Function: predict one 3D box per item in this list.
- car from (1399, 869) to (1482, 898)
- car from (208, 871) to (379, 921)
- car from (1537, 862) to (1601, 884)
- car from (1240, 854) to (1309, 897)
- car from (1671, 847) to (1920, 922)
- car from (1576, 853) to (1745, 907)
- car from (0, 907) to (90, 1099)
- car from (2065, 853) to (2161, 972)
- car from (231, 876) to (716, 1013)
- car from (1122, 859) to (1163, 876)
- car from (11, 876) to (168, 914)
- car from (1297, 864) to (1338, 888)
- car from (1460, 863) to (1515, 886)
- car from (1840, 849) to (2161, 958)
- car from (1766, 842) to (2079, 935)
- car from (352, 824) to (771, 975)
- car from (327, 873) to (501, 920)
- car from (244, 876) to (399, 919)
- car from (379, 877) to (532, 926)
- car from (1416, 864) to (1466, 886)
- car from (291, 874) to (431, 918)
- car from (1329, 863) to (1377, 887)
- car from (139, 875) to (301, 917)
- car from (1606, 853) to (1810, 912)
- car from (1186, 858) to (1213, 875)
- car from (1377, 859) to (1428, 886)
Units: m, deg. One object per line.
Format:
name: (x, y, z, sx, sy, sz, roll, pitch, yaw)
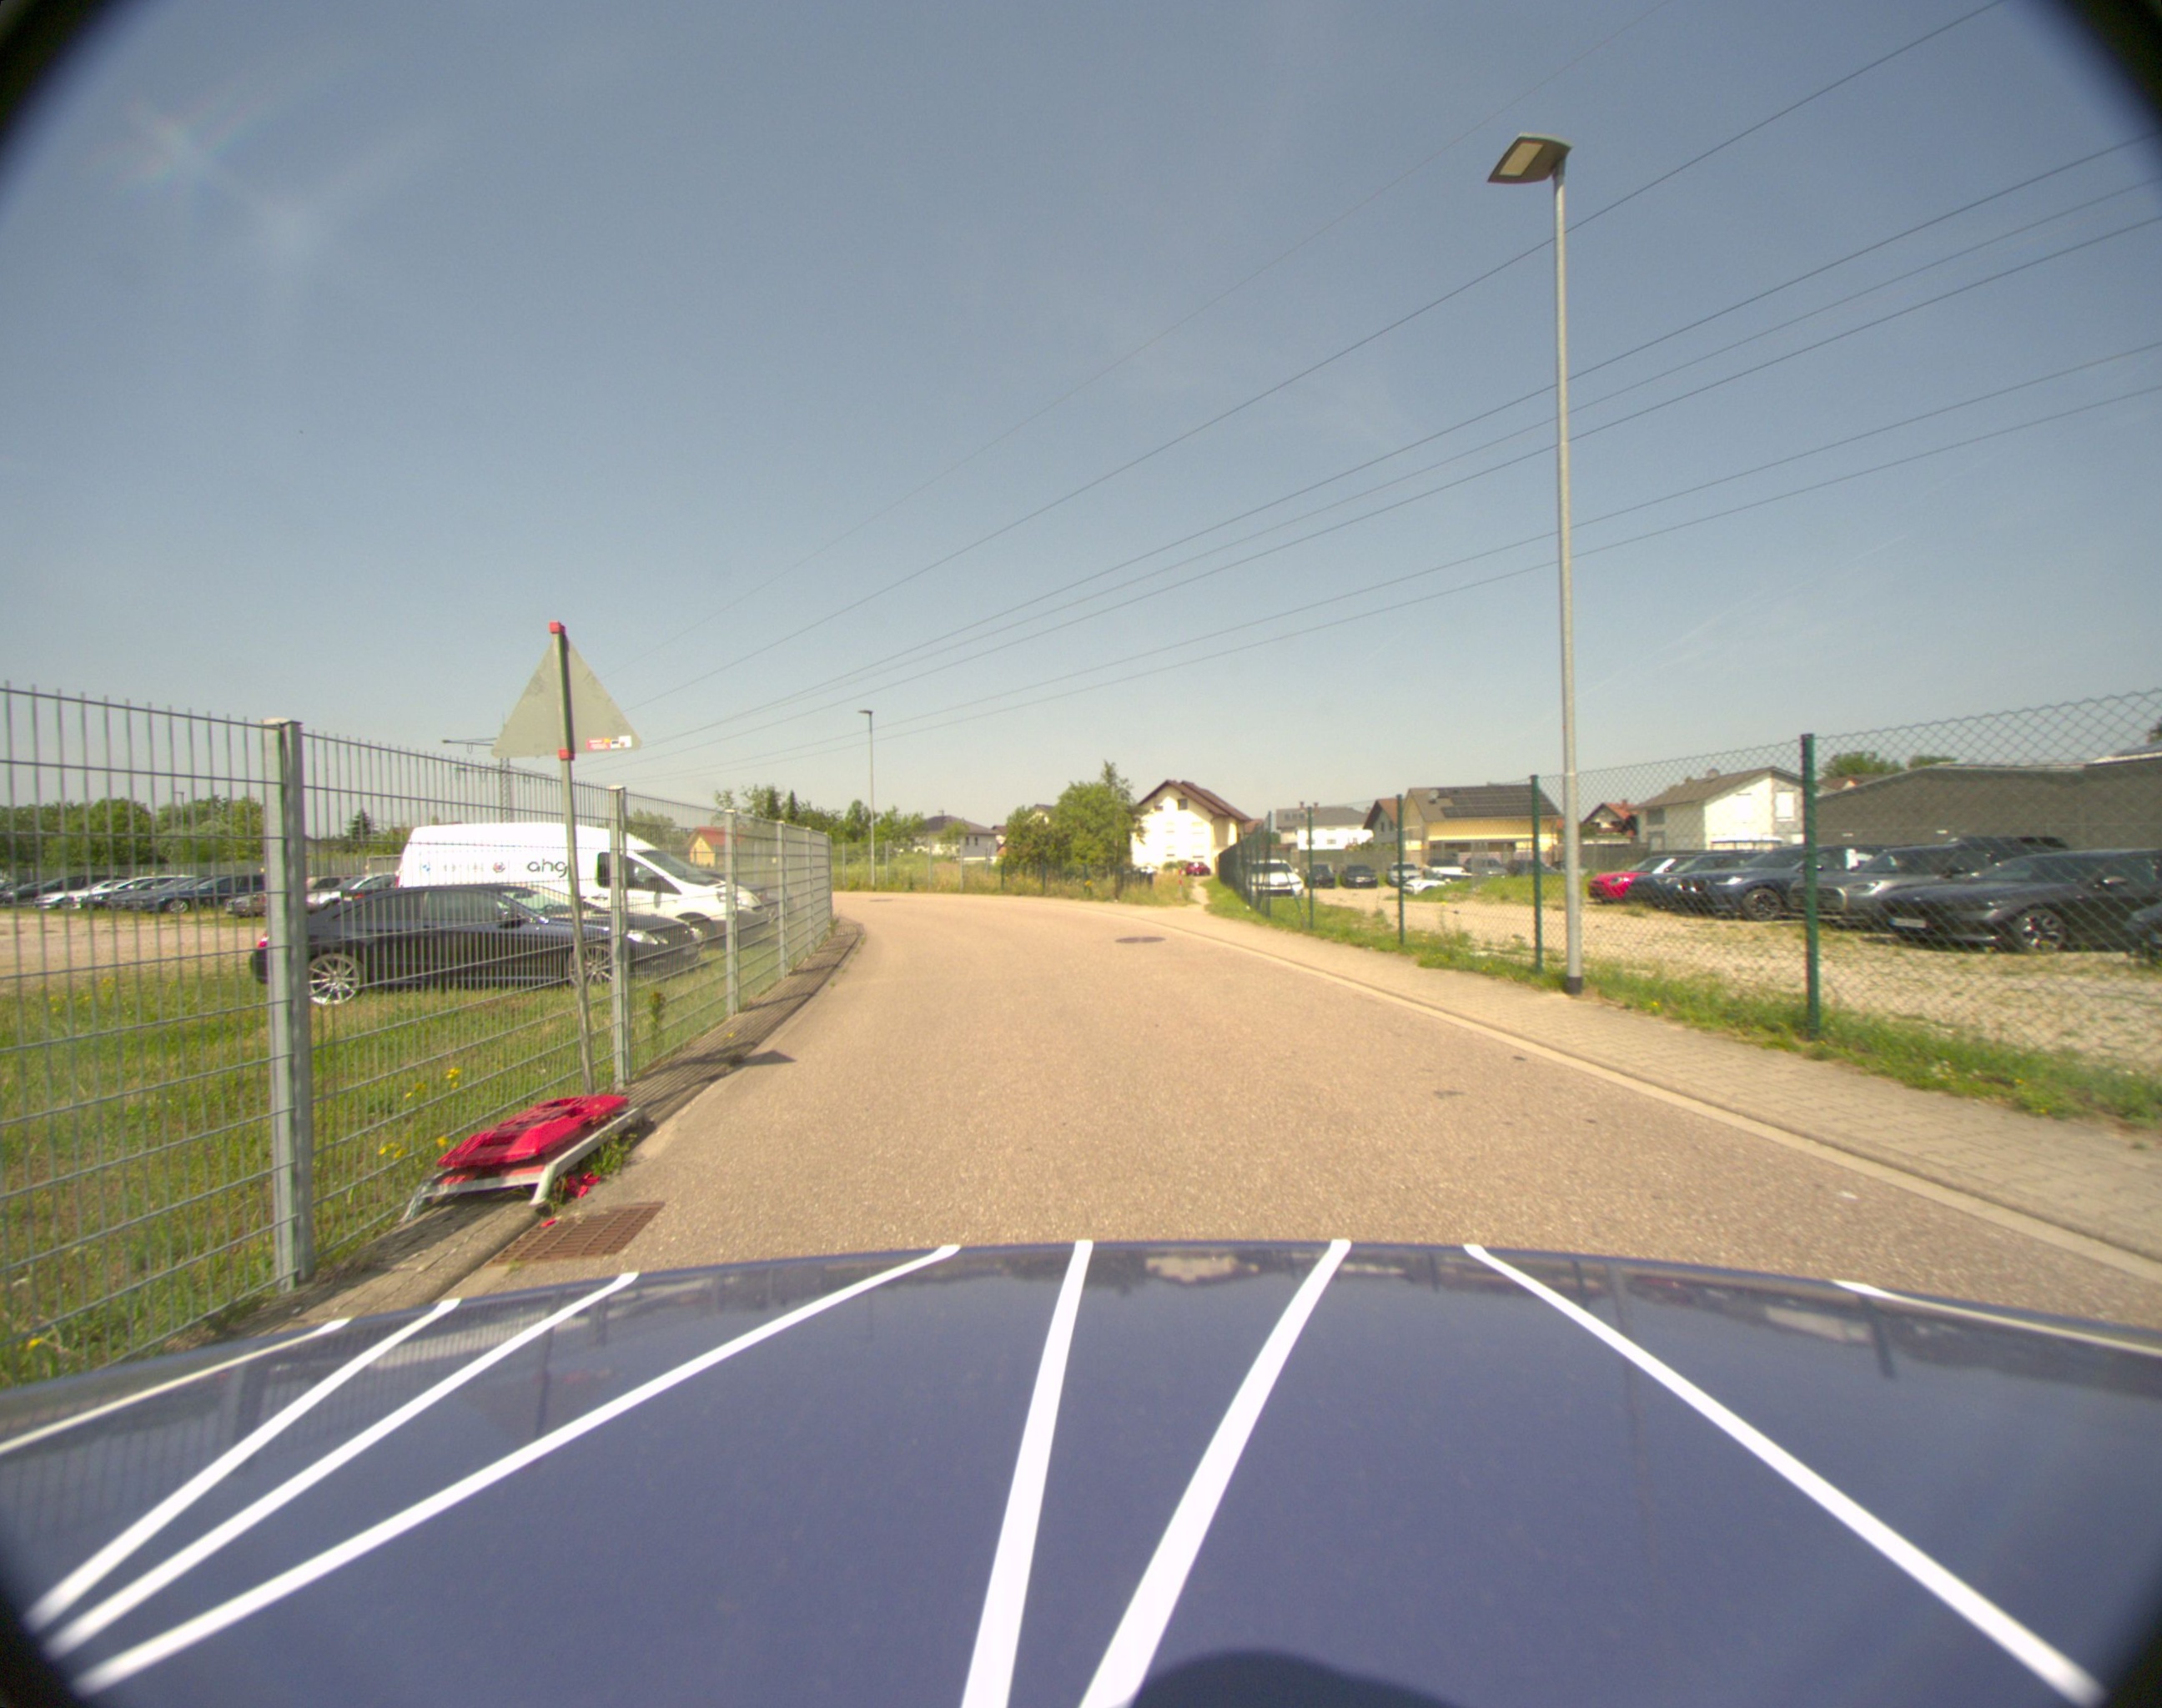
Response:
car: (17.673, 1.450, 37.472, 3.386, 1.307, 1.660, -1, 1, 10)
car: (-30.262, 1.559, 29.367, 1.634, 1.466, 4.182, -1, 3, 24)
car: (29.875, 1.136, 46.622, 1.791, 1.229, 4.138, -1, 0, 9)
car: (6.584, 0.687, 26.270, 1.866, 1.299, 4.565, -1, 0, 9)
car: (15.869, 0.649, 17.079, 3.692, 1.552, 1.869, -1, 1, 8)
car: (16.769, 0.730, 22.141, 3.436, 1.445, 1.869, -1, 1, 8)
car: (-9.219, 1.075, 4.364, 3.930, 1.270, 1.904, -1, 0, -13)
car: (15.455, 0.693, 8.955, 4.659, 1.427, 2.003, -1, 1, 8)
car: (-7.343, 1.043, 9.719, 4.435, 1.352, 1.905, -1, 0, -10)
car: (6.717, 1.473, 82.749, 4.075, 1.674, 1.868, -1, 0, 25)
car: (-47.104, 1.902, 36.225, 1.634, 1.330, 4.182, -1, 3, 24)
car: (15.082, 1.360, 48.637, 1.866, 1.363, 4.565, -1, 0, 9)
car: (25.352, 1.256, 47.557, 1.791, 1.229, 4.138, -1, 0, 9)
car: (14.875, 0.728, 11.973, 3.765, 1.545, 1.869, -1, 1, 8)
car: (15.754, 0.622, 14.443, 3.629, 1.634, 1.869, -1, 1, 8)
car: (-8.168, 0.636, 12.576, 5.345, 2.137, 1.904, -1, 1, -13)
car: (-23.235, 1.429, 26.681, 1.719, 1.346, 4.204, -1, 1, 25)
car: (-28.221, 1.579, 28.351, 1.736, 1.346, 3.681, -1, 1, 26)
car: (-20.727, 1.510, 25.329, 1.632, 1.381, 3.541, -1, 0, 25)
car: (22.798, 1.278, 48.261, 1.791, 1.229, 4.138, -1, 0, 9)
car: (-25.809, 1.455, 27.339, 1.524, 1.346, 3.283, -1, 1, 23)
car: (17.309, 1.298, 48.549, 2.039, 1.335, 4.420, -1, 0, 9)
car: (-36.533, 1.720, 32.387, 1.634, 1.330, 4.182, -1, 3, 24)
car: (16.110, 0.713, 19.700, 3.644, 1.425, 1.869, -1, 1, 8)
car: (13.155, 1.341, 84.125, 1.862, 1.718, 4.142, -1, 1, 26)
car: (20.371, 1.133, 48.322, 2.039, 1.527, 4.138, -1, 0, 9)
